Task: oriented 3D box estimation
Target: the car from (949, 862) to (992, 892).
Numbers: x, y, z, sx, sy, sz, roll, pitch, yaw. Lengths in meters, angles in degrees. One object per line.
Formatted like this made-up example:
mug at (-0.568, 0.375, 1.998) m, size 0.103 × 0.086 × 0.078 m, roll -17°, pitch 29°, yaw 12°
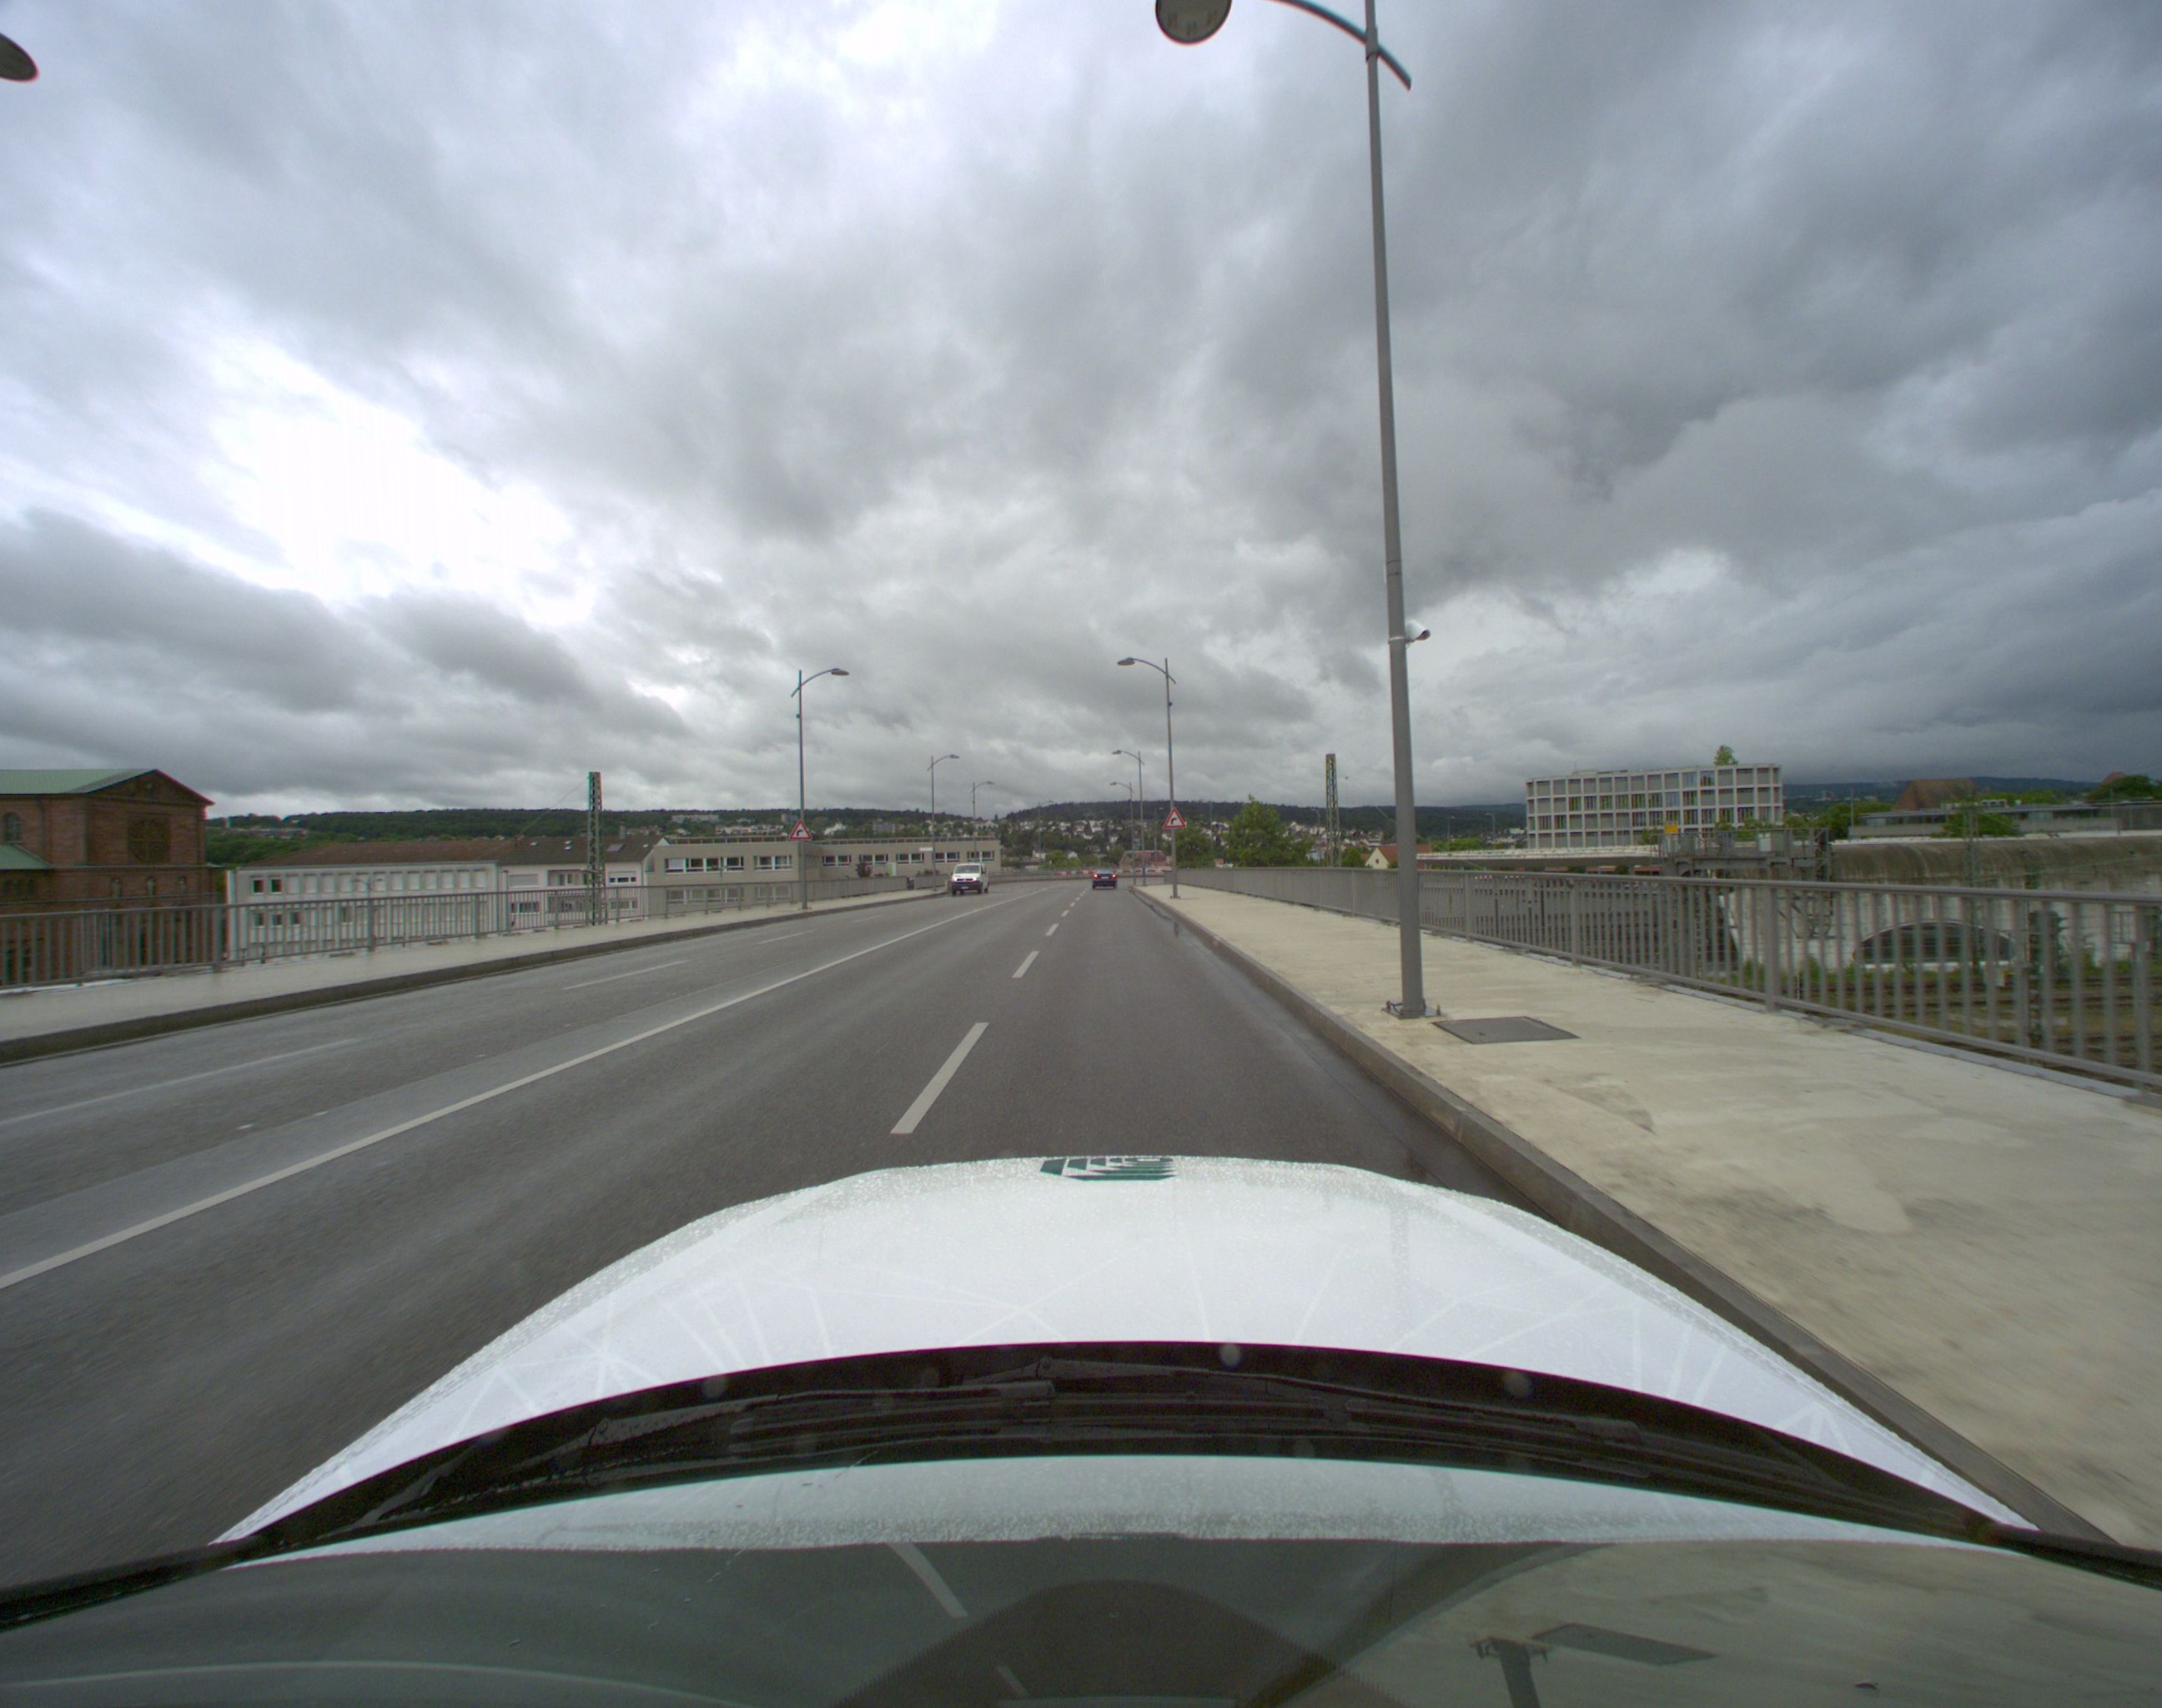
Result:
car at (-7.092, 1.480, 52.593) m, size 1.879 × 1.822 × 4.960 m, roll -1°, pitch -1°, yaw 2°

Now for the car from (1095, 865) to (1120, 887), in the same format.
car at (1.807, 1.490, 55.808) m, size 1.699 × 1.420 × 3.726 m, roll -1°, pitch -1°, yaw 2°
